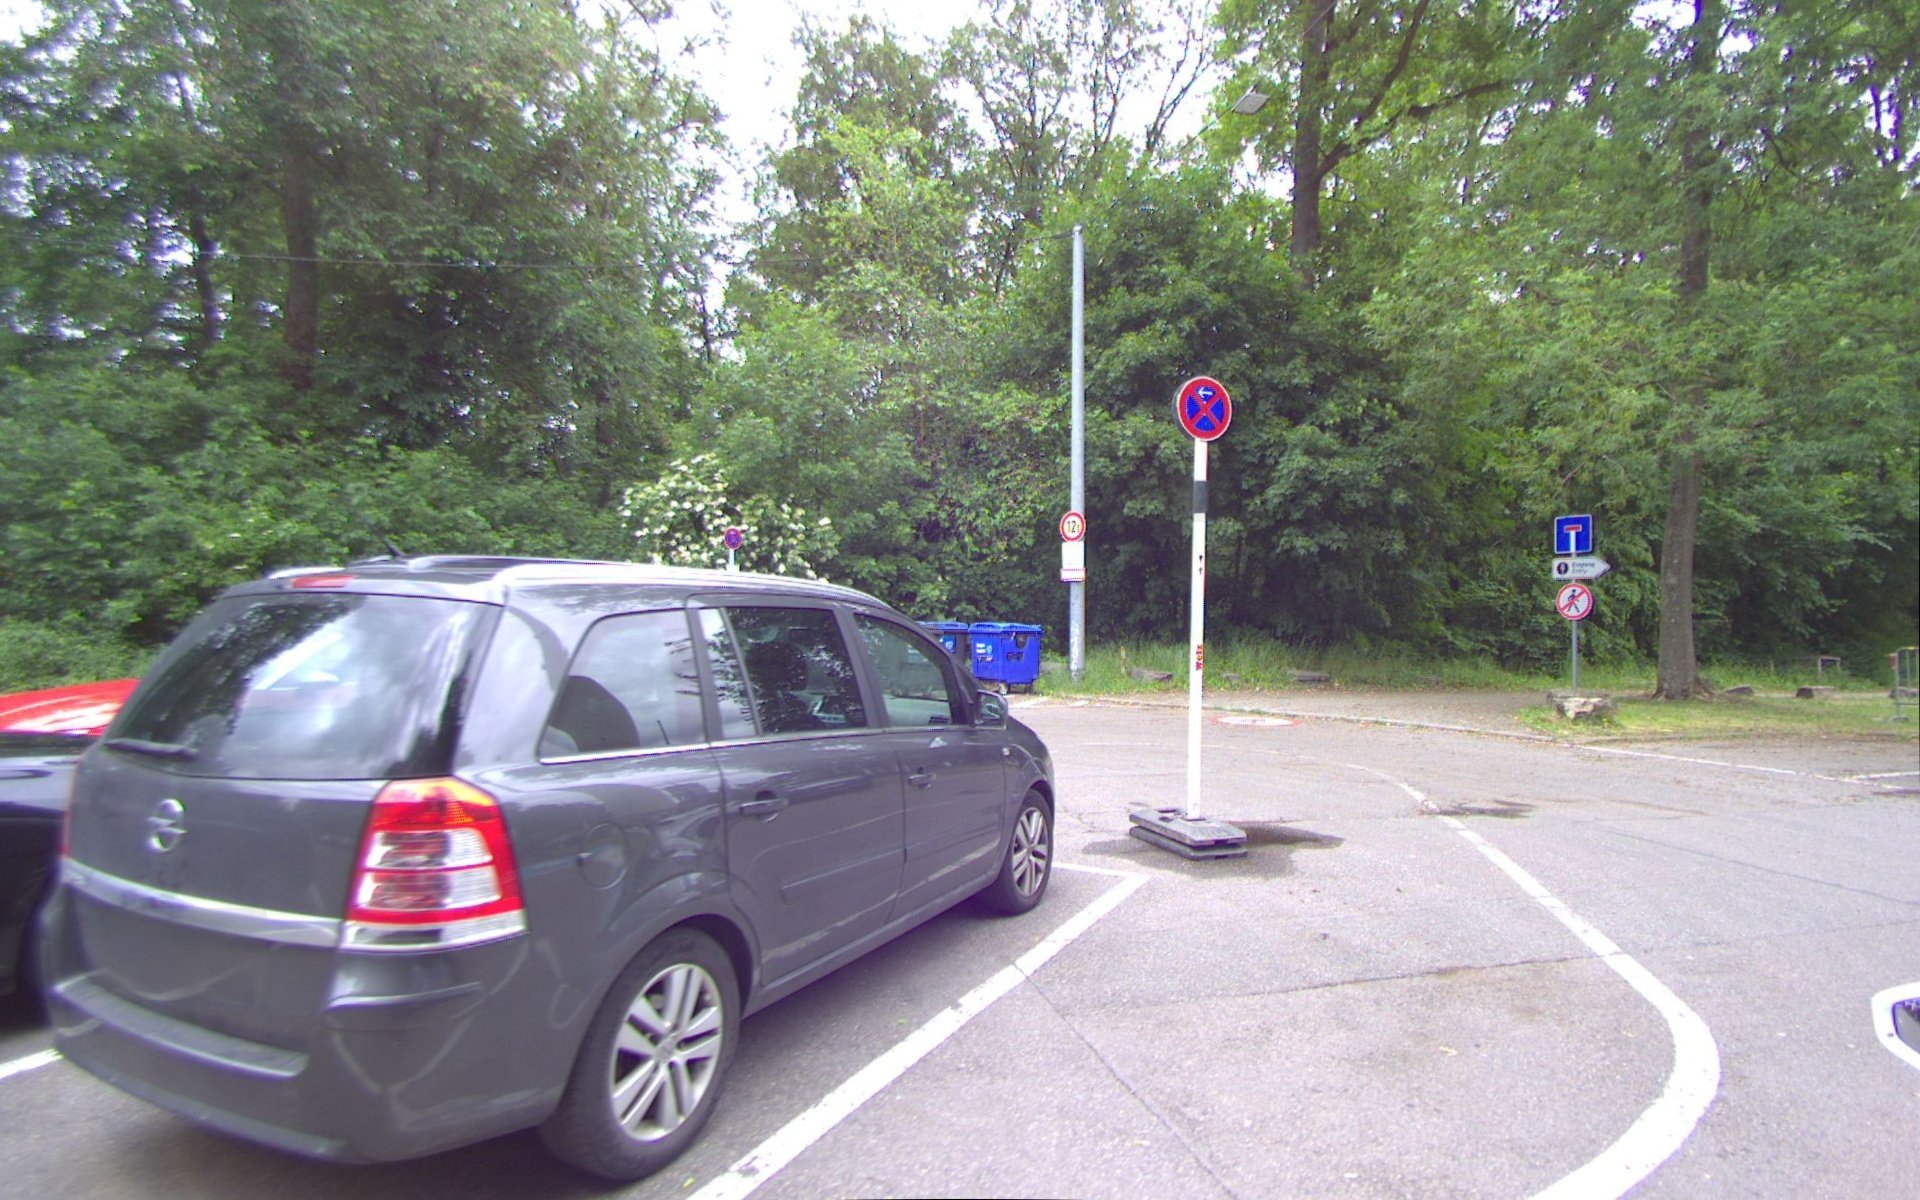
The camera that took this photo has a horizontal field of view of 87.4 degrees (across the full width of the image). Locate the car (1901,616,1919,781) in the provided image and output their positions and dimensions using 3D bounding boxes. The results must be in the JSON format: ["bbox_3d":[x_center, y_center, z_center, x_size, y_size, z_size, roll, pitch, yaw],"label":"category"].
[{"bbox_3d":[11.438,0.973,9.566,3.934,1.606,1.893,1,-1,-16],"label":"car"}]

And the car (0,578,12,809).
[{"bbox_3d":[-8.682,0.634,5.990,1.863,1.685,3.996,0,-1,25],"label":"car"}]

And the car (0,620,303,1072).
[{"bbox_3d":[-4.433,0.790,2.614,1.727,1.462,4.275,0,-1,26],"label":"car"}]

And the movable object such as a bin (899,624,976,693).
[{"bbox_3d":[-0.466,1.151,20.127,1.222,1.337,1.121,1,-1,-22],"label":"movable object such as a bin"}]

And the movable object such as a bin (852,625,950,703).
[{"bbox_3d":[-1.054,1.121,18.025,1.156,1.324,1.306,0,-1,43],"label":"movable object such as a bin"}]

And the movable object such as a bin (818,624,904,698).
[{"bbox_3d":[-1.861,1.122,18.894,1.111,1.332,1.178,0,-1,43],"label":"movable object such as a bin"}]

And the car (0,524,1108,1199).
[{"bbox_3d":[-0.909,0.714,4.278,1.795,1.630,4.383,0,-1,26],"label":"car"}]

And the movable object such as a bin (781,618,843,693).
[{"bbox_3d":[-2.970,1.095,20.087,1.111,1.444,1.124,1,-1,-14],"label":"movable object such as a bin"}]

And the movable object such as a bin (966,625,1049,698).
[{"bbox_3d":[0.910,1.173,19.452,1.133,1.342,1.247,1,-1,-30],"label":"movable object such as a bin"}]

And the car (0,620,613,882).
[{"bbox_3d":[-5.002,0.883,7.773,1.737,1.412,4.386,0,-1,28],"label":"car"}]
